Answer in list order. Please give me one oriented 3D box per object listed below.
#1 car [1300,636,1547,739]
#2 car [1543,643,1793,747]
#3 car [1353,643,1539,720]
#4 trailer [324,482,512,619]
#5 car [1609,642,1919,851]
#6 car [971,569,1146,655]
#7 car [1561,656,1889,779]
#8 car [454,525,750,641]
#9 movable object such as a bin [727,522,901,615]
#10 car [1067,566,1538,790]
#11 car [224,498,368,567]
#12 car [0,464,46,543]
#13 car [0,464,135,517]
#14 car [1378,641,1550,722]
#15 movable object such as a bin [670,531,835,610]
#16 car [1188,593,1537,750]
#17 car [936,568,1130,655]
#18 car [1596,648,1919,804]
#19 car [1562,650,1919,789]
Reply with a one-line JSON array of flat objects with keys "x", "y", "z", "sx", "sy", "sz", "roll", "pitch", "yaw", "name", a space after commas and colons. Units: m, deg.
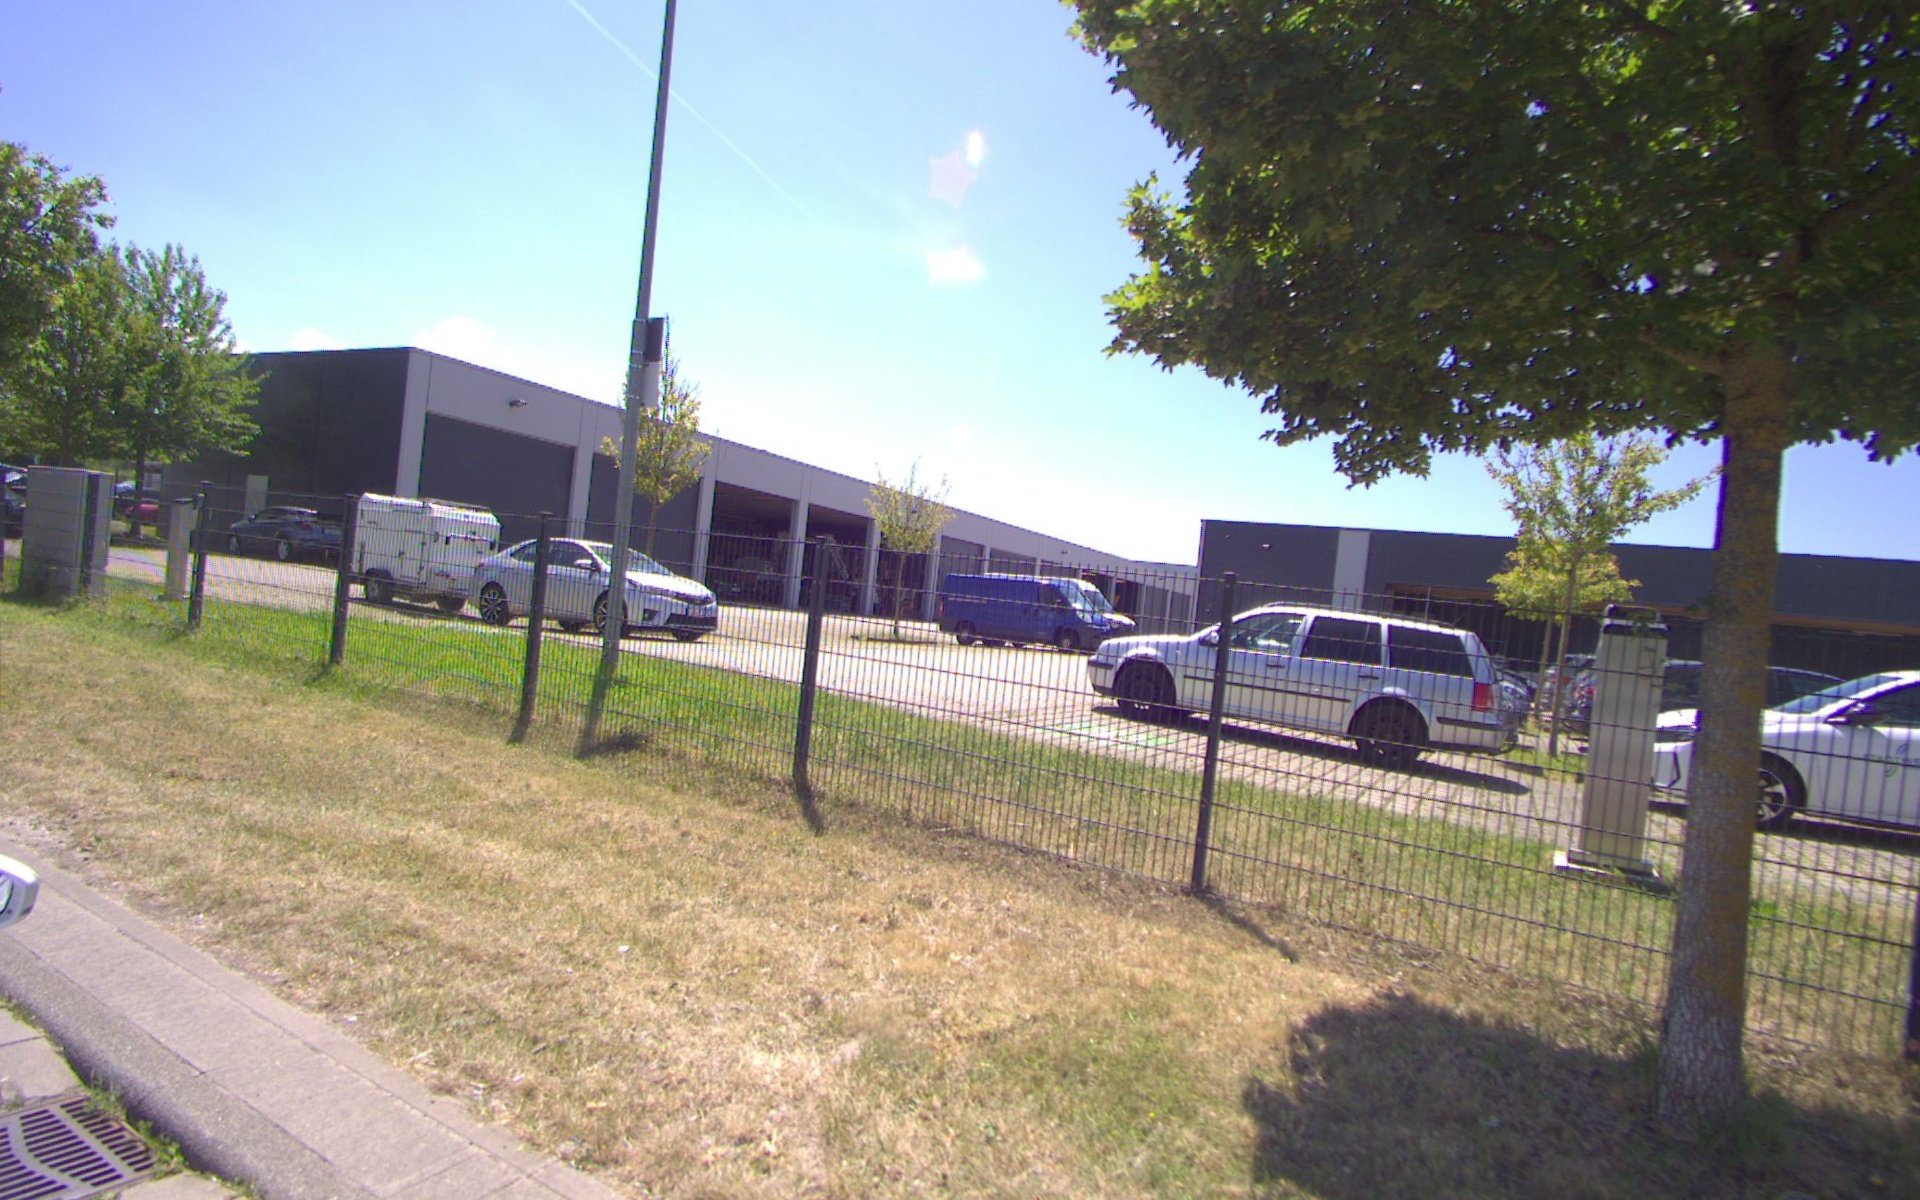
[{"x": 8.814, "y": 1.605, "z": 19.268, "sx": 4.030, "sy": 1.479, "sz": 1.792, "roll": 4, "pitch": -1, "yaw": 28, "name": "car"}, {"x": 14.849, "y": 1.951, "z": 21.395, "sx": 4.030, "sy": 1.703, "sz": 1.792, "roll": 4, "pitch": -1, "yaw": 28, "name": "car"}, {"x": 12.284, "y": 2.026, "z": 25.566, "sx": 4.030, "sy": 1.479, "sz": 1.792, "roll": 4, "pitch": -1, "yaw": 28, "name": "car"}, {"x": -9.978, "y": -0.927, "z": 18.465, "sx": 3.209, "sy": 2.033, "sz": 1.494, "roll": 9, "pitch": 3, "yaw": 32, "name": "trailer"}, {"x": 7.973, "y": 1.256, "z": 8.374, "sx": 4.072, "sy": 1.450, "sz": 1.792, "roll": 4, "pitch": -1, "yaw": 28, "name": "car"}, {"x": 3.286, "y": 0.400, "z": 33.780, "sx": 5.411, "sy": 2.508, "sz": 1.884, "roll": 3, "pitch": 0, "yaw": 27, "name": "car"}, {"x": 12.502, "y": 1.862, "z": 16.820, "sx": 4.030, "sy": 1.479, "sz": 1.792, "roll": 4, "pitch": -1, "yaw": 28, "name": "car"}, {"x": -5.712, "y": -0.278, "z": 15.991, "sx": 4.392, "sy": 1.541, "sz": 1.884, "roll": 3, "pitch": -1, "yaw": 27, "name": "car"}, {"x": -7.917, "y": -1.710, "z": 54.067, "sx": 8.517, "sy": 4.025, "sz": 3.546, "roll": 7, "pitch": 1, "yaw": 29, "name": "movable object such as a bin"}, {"x": 3.593, "y": 0.719, "z": 10.853, "sx": 4.345, "sy": 1.550, "sz": 1.792, "roll": 8, "pitch": 1, "yaw": 28, "name": "car"}, {"x": -18.293, "y": -1.860, "z": 27.702, "sx": 3.633, "sy": 1.425, "sz": 1.738, "roll": 7, "pitch": 1, "yaw": 28, "name": "car"}, {"x": -21.401, "y": -2.205, "z": 21.296, "sx": 3.827, "sy": 1.542, "sz": 1.739, "roll": 7, "pitch": 1, "yaw": 27, "name": "car"}, {"x": -35.910, "y": -4.319, "z": 39.938, "sx": 1.966, "sy": 1.415, "sz": 4.446, "roll": 4, "pitch": -1, "yaw": 28, "name": "car"}, {"x": 13.883, "y": 2.207, "z": 27.843, "sx": 4.030, "sy": 1.783, "sz": 1.792, "roll": 4, "pitch": -1, "yaw": 28, "name": "car"}, {"x": -10.300, "y": -1.474, "z": 49.831, "sx": 7.193, "sy": 3.032, "sz": 3.546, "roll": 7, "pitch": 1, "yaw": 29, "name": "movable object such as a bin"}, {"x": 5.788, "y": 0.959, "z": 14.696, "sx": 4.345, "sy": 1.500, "sz": 1.792, "roll": 8, "pitch": 1, "yaw": 28, "name": "car"}, {"x": 2.208, "y": 0.328, "z": 31.103, "sx": 5.559, "sy": 2.291, "sz": 1.884, "roll": 3, "pitch": 0, "yaw": 27, "name": "car"}, {"x": 10.340, "y": 1.518, "z": 12.368, "sx": 4.030, "sy": 1.479, "sz": 1.792, "roll": 4, "pitch": -1, "yaw": 28, "name": "car"}, {"x": 11.349, "y": 1.662, "z": 14.839, "sx": 4.030, "sy": 1.479, "sz": 1.792, "roll": 4, "pitch": -1, "yaw": 28, "name": "car"}]
